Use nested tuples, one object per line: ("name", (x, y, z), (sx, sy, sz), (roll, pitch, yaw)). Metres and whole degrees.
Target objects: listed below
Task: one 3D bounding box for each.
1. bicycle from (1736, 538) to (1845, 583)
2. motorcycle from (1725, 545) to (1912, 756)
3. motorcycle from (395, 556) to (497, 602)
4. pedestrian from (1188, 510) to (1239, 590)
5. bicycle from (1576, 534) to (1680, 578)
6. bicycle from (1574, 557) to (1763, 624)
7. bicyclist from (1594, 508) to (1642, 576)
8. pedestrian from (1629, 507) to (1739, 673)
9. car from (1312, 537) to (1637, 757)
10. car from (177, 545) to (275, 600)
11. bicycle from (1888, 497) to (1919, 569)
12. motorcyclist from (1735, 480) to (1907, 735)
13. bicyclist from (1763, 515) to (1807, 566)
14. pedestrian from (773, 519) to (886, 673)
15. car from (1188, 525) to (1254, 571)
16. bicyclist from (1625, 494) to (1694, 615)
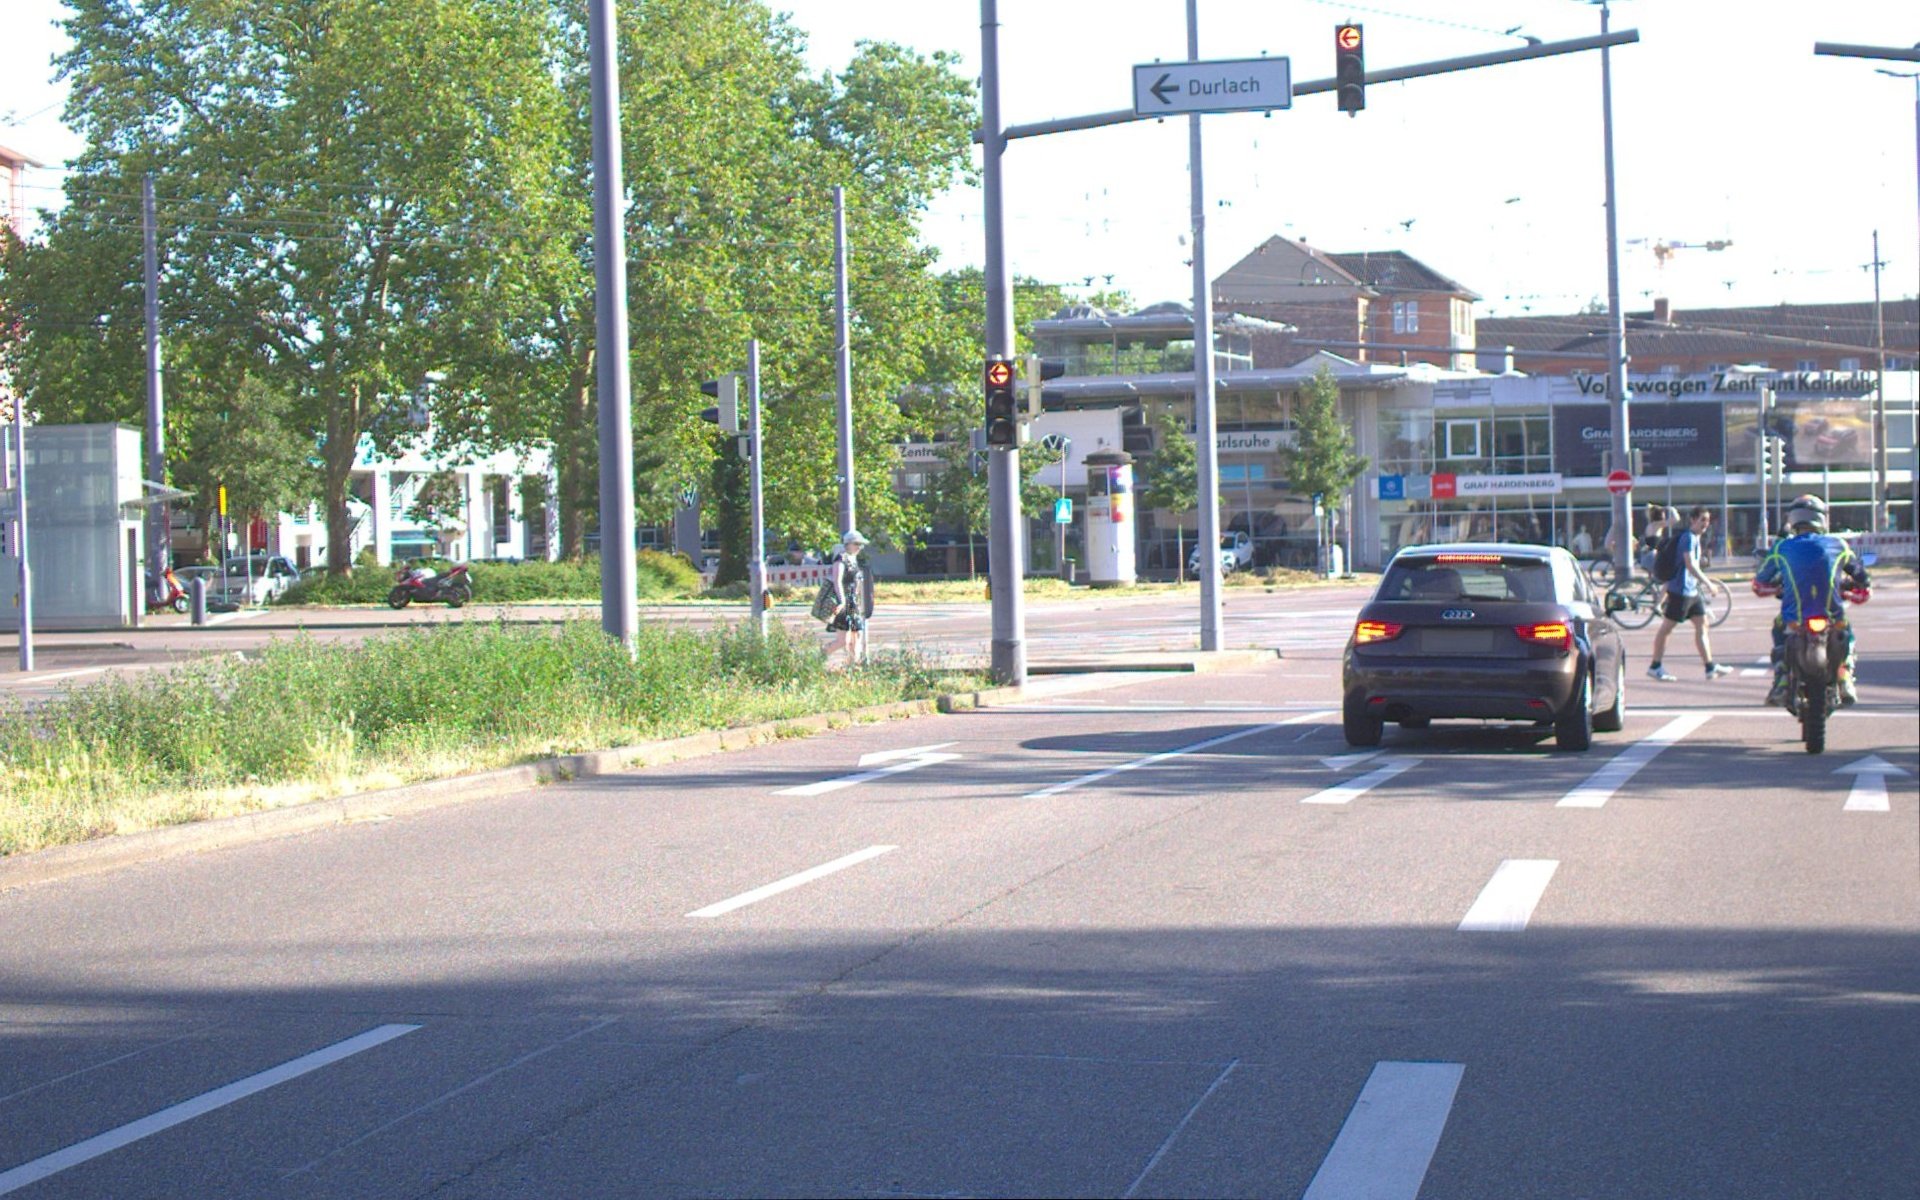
("bicycle", (19.151, -0.913, 79.297), (2.295, 0.956, 0.860), (-2, 3, -9))
("motorcycle", (5.966, 0.308, 23.781), (1.097, 1.372, 2.651), (0, 1, 18))
("motorcycle", (-12.214, -0.497, 81.740), (2.285, 1.050, 0.687), (-1, 3, 4))
("pedestrian", (5.833, -1.156, 79.045), (0.990, 1.810, 0.919), (0, 3, 15))
("bicycle", (15.882, -1.045, 81.754), (2.296, 0.976, 0.860), (-1, 3, -2))
("bicycle", (10.088, -0.141, 48.977), (2.492, 0.871, 0.860), (-1, 3, -5))
("bicyclist", (15.639, -1.384, 81.737), (0.923, 1.554, 0.860), (-1, 3, -4))
("pedestrian", (7.404, -0.109, 35.161), (0.826, 1.666, 0.699), (-2, 1, -22))
("car", (3.827, 0.271, 25.049), (1.802, 1.439, 3.975), (1, 1, 16))
("car", (-20.567, -0.786, 96.418), (1.847, 1.447, 4.000), (-1, 1, 0))
("bicycle", (24.431, -1.639, 82.509), (3.986, 1.684, 1.139), (-1, 3, -2))
("motorcyclist", (5.949, 0.043, 23.722), (1.097, 1.715, 0.936), (0, 1, 18))
("bicyclist", (19.025, -1.375, 79.262), (0.712, 1.139, 0.838), (-1, 3, -10))
("pedestrian", (-1.380, -0.051, 36.561), (1.093, 1.601, 0.699), (0, 3, 6))
("car", (9.709, -1.948, 127.523), (1.994, 1.529, 3.999), (0, 3, 11))
("bicyclist", (9.951, -0.659, 48.942), (0.745, 1.685, 0.860), (-1, 3, -5))
